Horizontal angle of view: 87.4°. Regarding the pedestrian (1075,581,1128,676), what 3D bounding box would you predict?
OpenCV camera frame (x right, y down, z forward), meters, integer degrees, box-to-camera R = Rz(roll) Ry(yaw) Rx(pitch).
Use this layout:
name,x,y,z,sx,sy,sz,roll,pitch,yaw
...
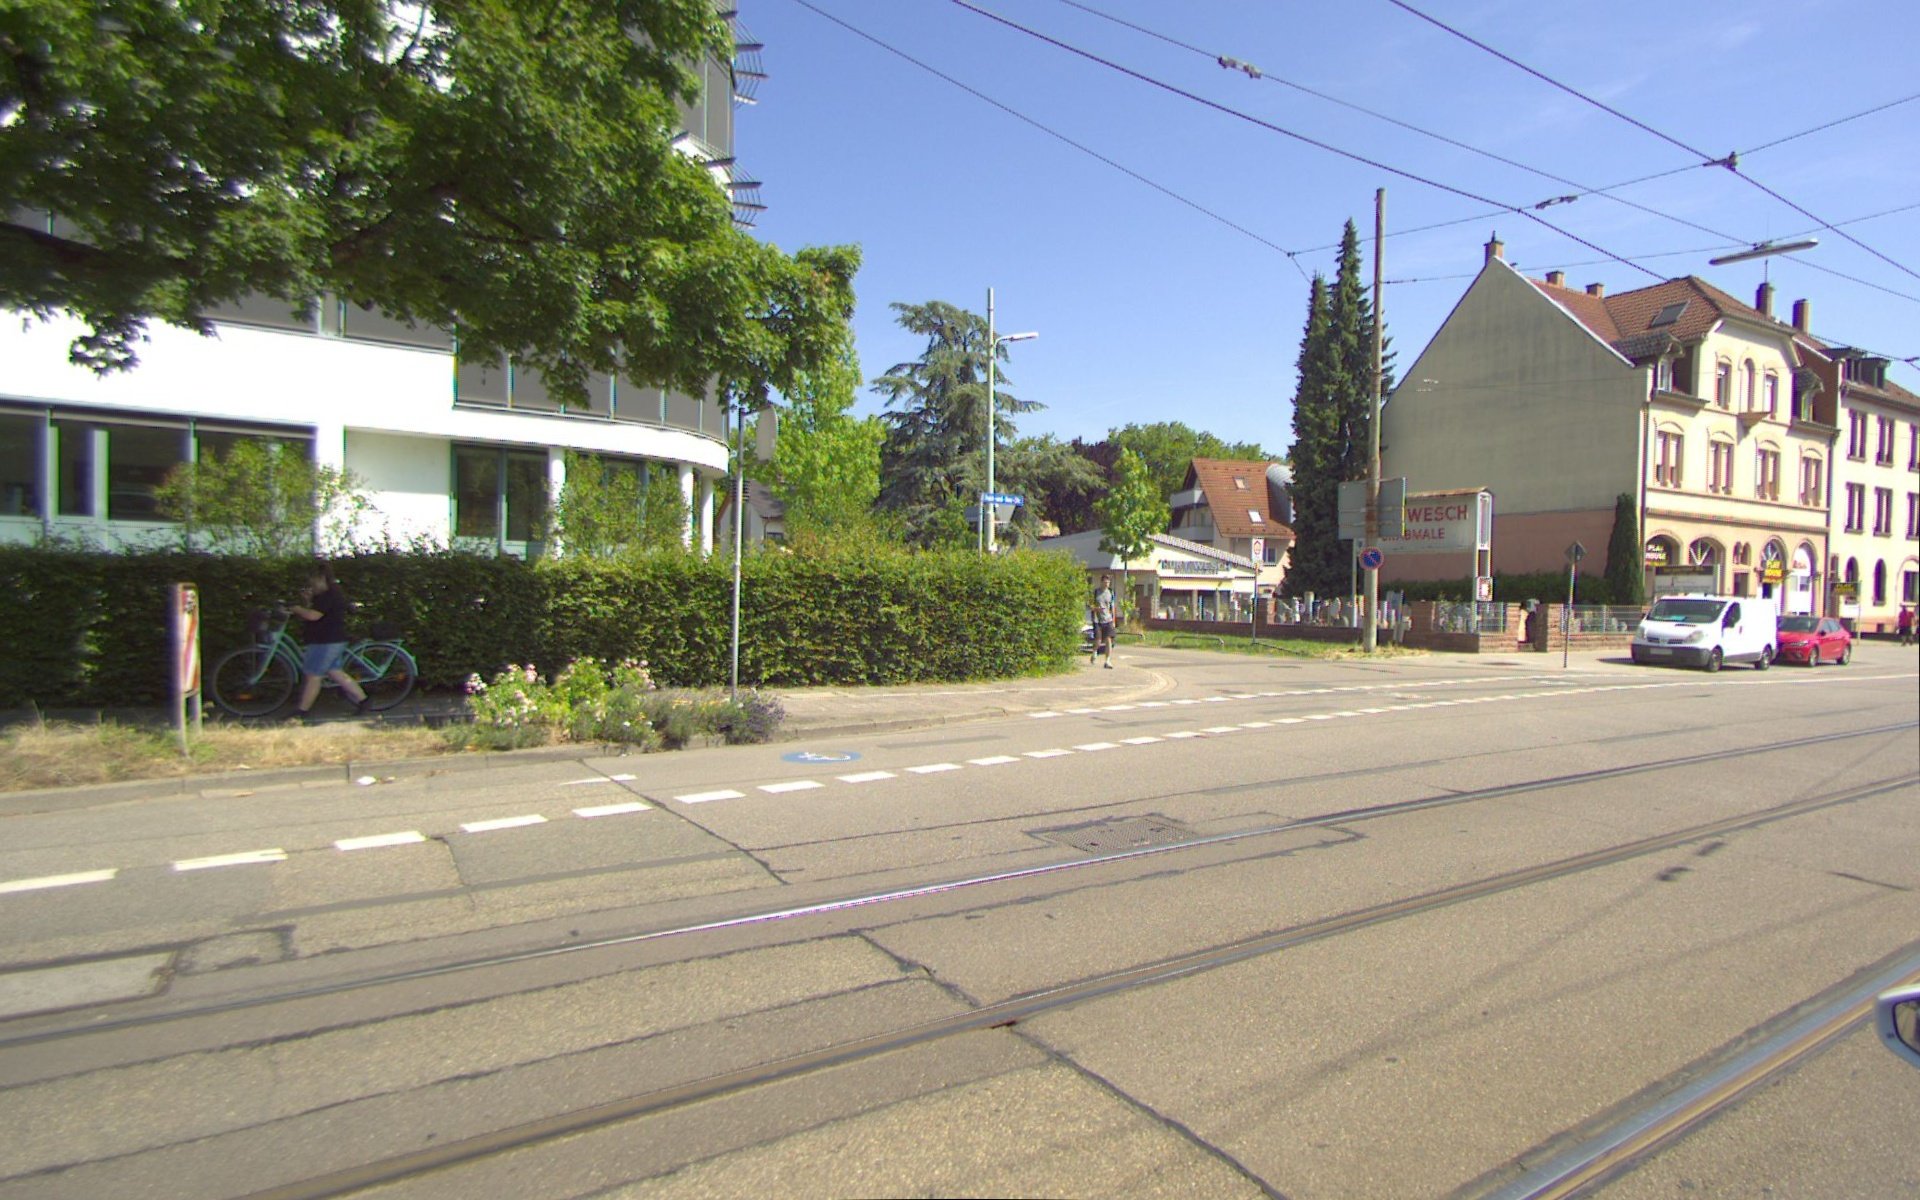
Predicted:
name,x,y,z,sx,sy,sz,roll,pitch,yaw
pedestrian,2.827,0.555,20.160,0.875,1.842,1.073,1,0,-2

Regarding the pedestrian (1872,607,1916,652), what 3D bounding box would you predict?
name,x,y,z,sx,sy,sz,roll,pitch,yaw
pedestrian,39.116,1.229,42.075,1.114,1.839,0.940,1,0,-22

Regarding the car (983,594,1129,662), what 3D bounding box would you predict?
name,x,y,z,sx,sy,sz,roll,pitch,yaw
car,2.292,0.647,24.746,1.687,1.548,3.662,1,0,-33

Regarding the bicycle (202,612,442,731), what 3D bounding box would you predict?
name,x,y,z,sx,sy,sz,roll,pitch,yaw
bicycle,-6.578,0.701,10.460,2.045,1.132,0.632,1,0,-33

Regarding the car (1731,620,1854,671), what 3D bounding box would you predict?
name,x,y,z,sx,sy,sz,roll,pitch,yaw
car,25.352,1.329,30.573,3.956,1.425,1.711,1,0,-32

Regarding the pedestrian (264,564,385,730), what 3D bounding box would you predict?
name,x,y,z,sx,sy,sz,roll,pitch,yaw
pedestrian,-6.422,0.444,10.151,0.979,1.584,0.681,1,2,-37

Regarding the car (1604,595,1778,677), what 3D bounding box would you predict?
name,x,y,z,sx,sy,sz,roll,pitch,yaw
car,20.006,0.958,27.435,4.851,2.040,2.073,1,1,-31
